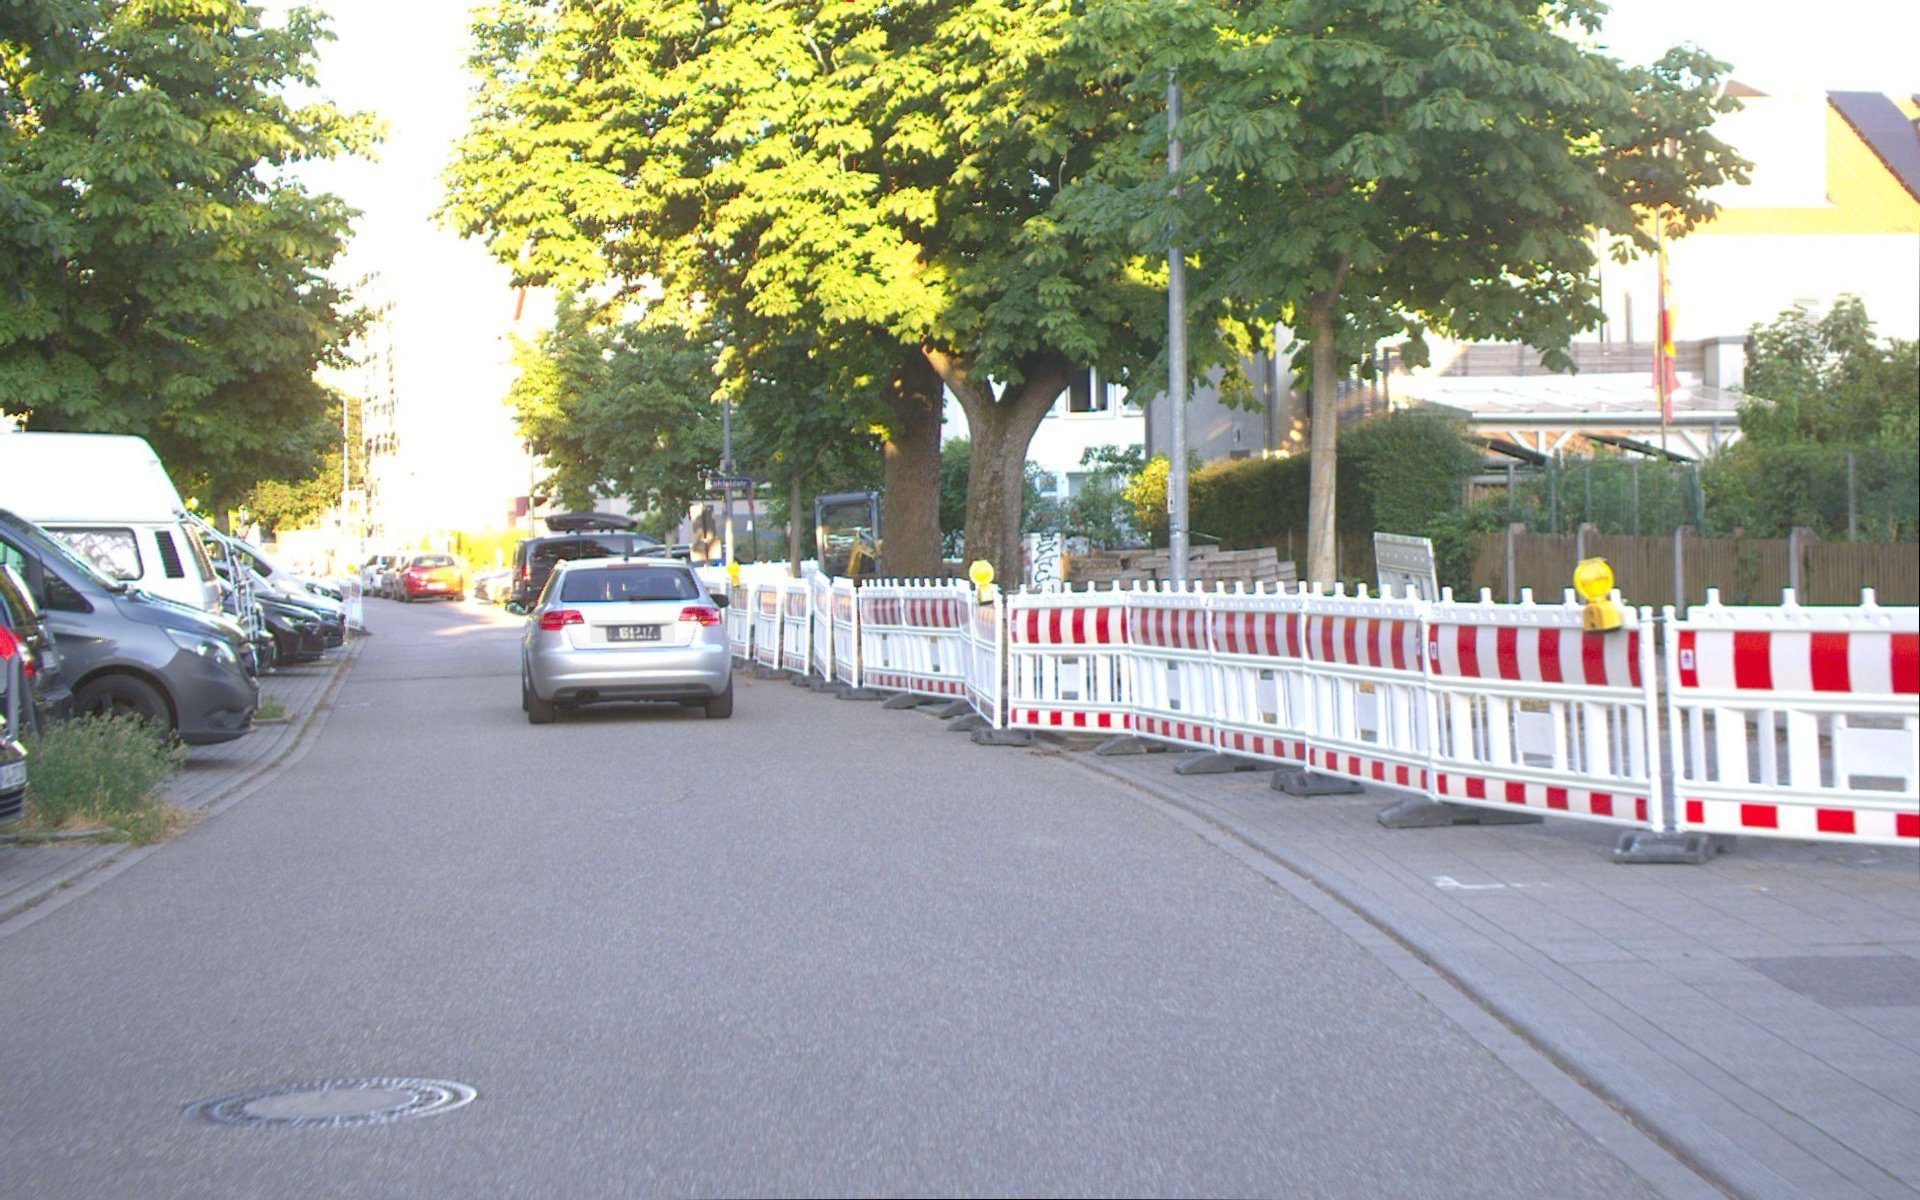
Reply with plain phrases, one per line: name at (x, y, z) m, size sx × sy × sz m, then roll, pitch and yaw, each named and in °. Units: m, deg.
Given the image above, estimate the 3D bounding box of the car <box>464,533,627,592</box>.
car at (-11.456, -1.055, 94.917) m, size 4.148 × 1.566 × 1.798 m, roll -1°, pitch 1°, yaw -20°

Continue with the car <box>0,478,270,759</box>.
car at (-7.230, 0.109, 23.808) m, size 4.672 × 1.867 × 2.001 m, roll 0°, pitch 1°, yaw -8°

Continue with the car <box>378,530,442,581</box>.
car at (-17.196, -1.403, 107.421) m, size 1.663 × 1.568 × 3.442 m, roll -1°, pitch 1°, yaw -14°

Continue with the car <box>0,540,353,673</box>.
car at (-10.016, 0.055, 43.727) m, size 4.405 × 1.609 × 1.900 m, roll -1°, pitch 1°, yaw -13°

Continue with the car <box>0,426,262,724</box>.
car at (-8.238, -0.225, 28.903) m, size 4.501 × 2.422 × 2.001 m, roll 0°, pitch 1°, yaw -7°

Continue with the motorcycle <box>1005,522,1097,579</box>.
motorcycle at (1.801, -0.980, 67.534) m, size 1.841 × 1.102 × 0.581 m, roll -1°, pitch 2°, yaw -37°

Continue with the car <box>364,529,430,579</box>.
car at (-18.386, -1.512, 112.149) m, size 1.808 × 1.607 × 3.582 m, roll -1°, pitch 1°, yaw -14°

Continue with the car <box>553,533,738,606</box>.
car at (-7.373, -0.724, 80.624) m, size 3.986 × 1.645 × 1.765 m, roll -1°, pitch 1°, yaw -20°

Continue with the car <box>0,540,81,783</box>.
car at (-7.439, 0.348, 21.100) m, size 3.768 × 1.434 × 1.656 m, roll 0°, pitch 1°, yaw -6°

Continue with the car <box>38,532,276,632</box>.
car at (-12.347, -0.294, 53.040) m, size 3.413 × 1.478 × 1.759 m, roll 0°, pitch 1°, yaw -8°

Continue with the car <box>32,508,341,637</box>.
car at (-12.414, -0.464, 55.476) m, size 4.771 × 2.007 × 2.001 m, roll 0°, pitch 1°, yaw -10°

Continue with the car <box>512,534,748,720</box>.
car at (-2.995, 0.181, 30.521) m, size 1.807 × 1.483 × 4.001 m, roll -2°, pitch 1°, yaw -9°

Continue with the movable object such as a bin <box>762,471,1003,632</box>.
movable object such as a bin at (-1.294, -0.799, 54.154) m, size 2.627 × 2.394 × 5.199 m, roll -1°, pitch 1°, yaw -15°

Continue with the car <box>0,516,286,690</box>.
car at (-9.133, 0.010, 36.141) m, size 3.859 × 1.771 × 1.844 m, roll 0°, pitch 1°, yaw -6°

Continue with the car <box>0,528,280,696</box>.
car at (-8.745, 0.099, 33.866) m, size 3.859 × 1.589 × 1.786 m, roll 0°, pitch 1°, yaw -6°

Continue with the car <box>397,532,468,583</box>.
car at (-15.687, -1.271, 102.139) m, size 1.729 × 1.478 × 3.559 m, roll -1°, pitch 1°, yaw -14°

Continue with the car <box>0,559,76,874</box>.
car at (-6.428, 0.471, 15.891) m, size 4.243 × 1.389 × 1.684 m, roll 1°, pitch 1°, yaw -2°

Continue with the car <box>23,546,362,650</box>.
car at (-11.206, -0.040, 50.510) m, size 4.771 × 1.465 × 1.881 m, roll 0°, pitch 1°, yaw -10°

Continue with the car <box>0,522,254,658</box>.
car at (-10.570, -0.140, 41.308) m, size 3.986 × 1.578 × 1.732 m, roll 0°, pitch 1°, yaw -9°

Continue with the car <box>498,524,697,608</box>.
car at (-8.975, -0.872, 85.127) m, size 4.555 × 2.016 × 2.102 m, roll -1°, pitch 1°, yaw -18°
